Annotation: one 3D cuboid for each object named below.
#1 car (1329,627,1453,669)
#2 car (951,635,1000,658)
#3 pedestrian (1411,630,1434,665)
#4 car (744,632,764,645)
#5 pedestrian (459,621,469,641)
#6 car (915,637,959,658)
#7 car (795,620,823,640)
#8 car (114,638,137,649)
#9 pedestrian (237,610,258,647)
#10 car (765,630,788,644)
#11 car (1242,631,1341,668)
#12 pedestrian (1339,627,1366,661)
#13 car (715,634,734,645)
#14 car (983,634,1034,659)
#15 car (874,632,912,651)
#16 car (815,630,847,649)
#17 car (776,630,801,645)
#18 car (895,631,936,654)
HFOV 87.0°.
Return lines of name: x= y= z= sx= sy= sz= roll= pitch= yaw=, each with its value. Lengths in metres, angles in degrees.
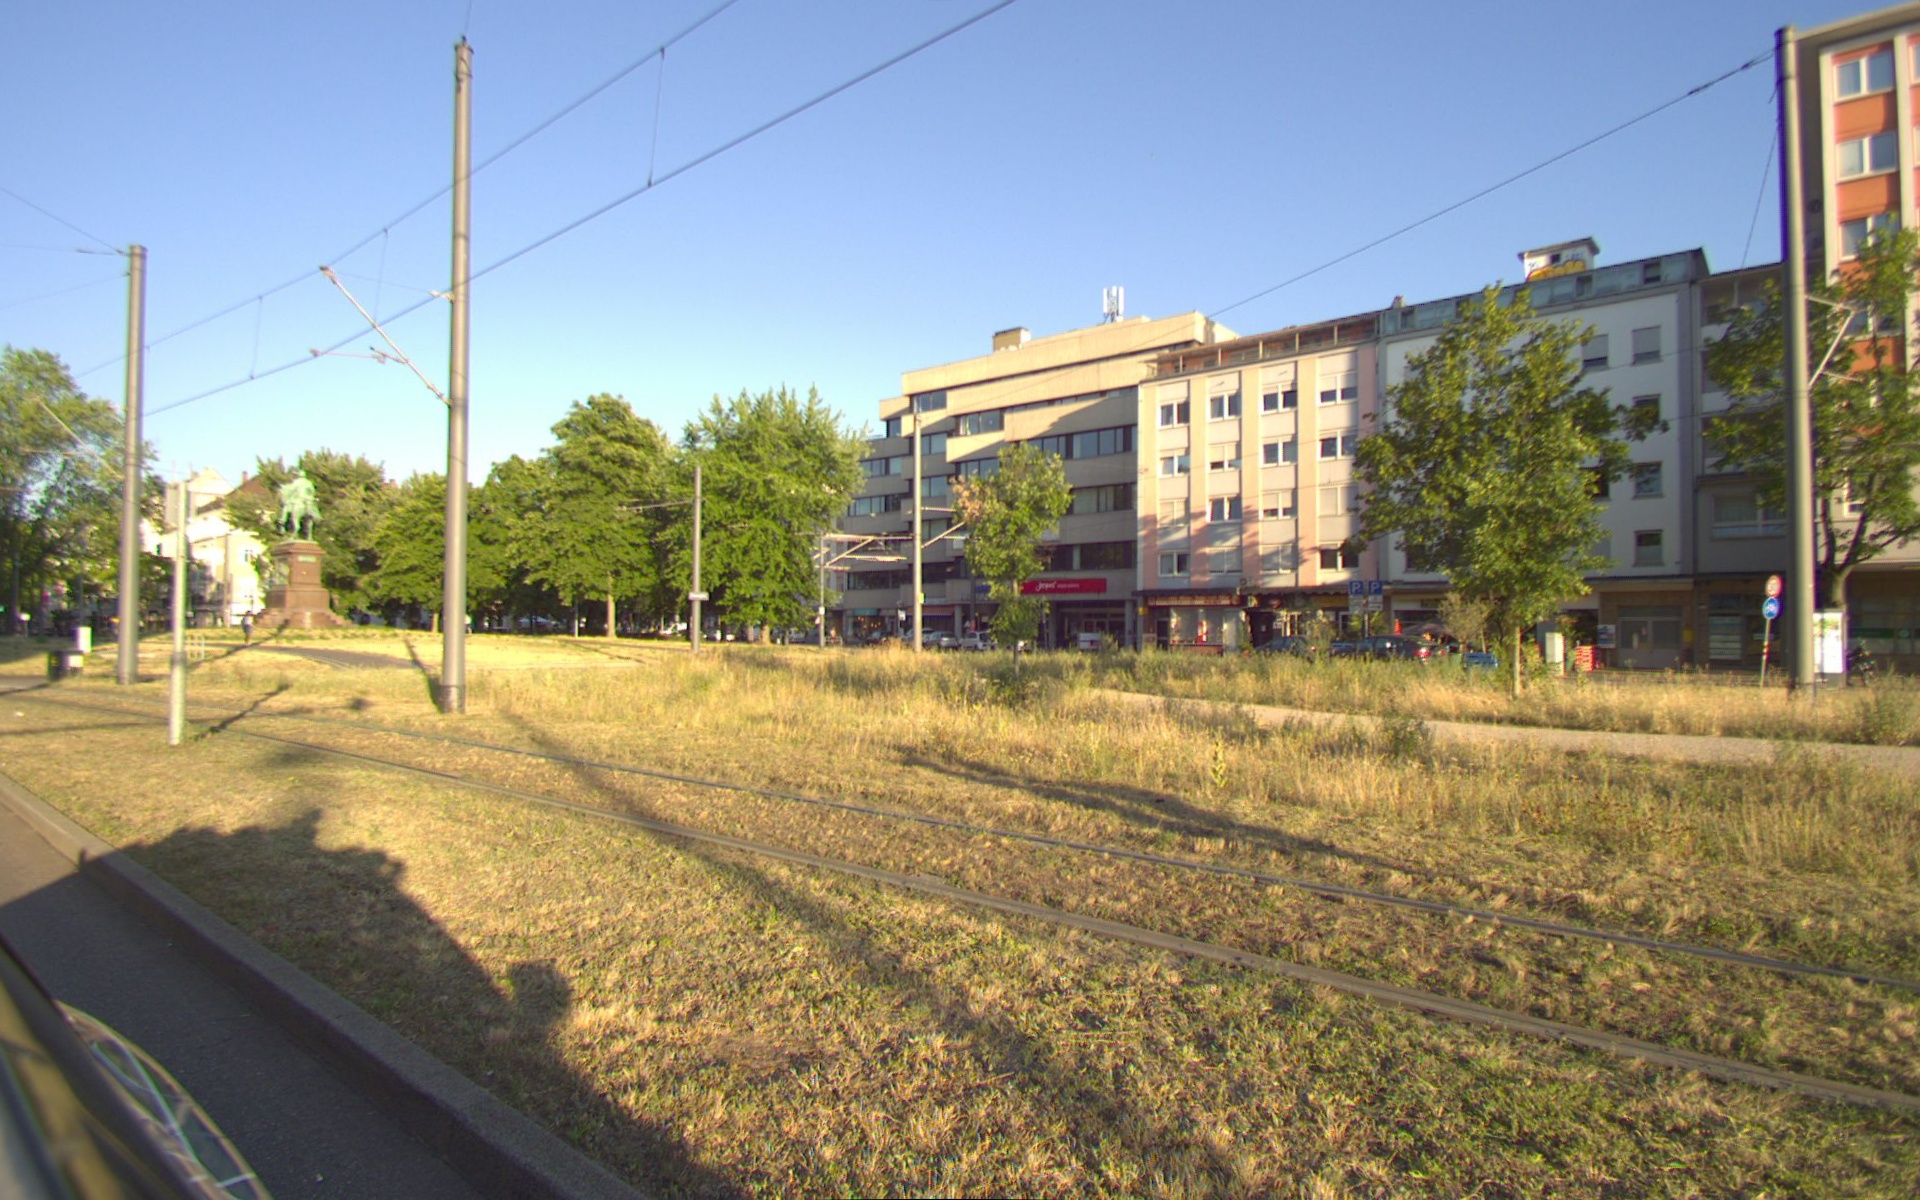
car: x=16.733 y=1.890 z=39.488 sx=1.729 sy=1.538 sz=4.305 roll=1 pitch=-3 yaw=-27
car: x=1.069 y=3.330 z=71.638 sx=1.729 sy=1.564 sz=4.012 roll=1 pitch=-3 yaw=-27
pedestrian: x=20.550 y=2.126 z=44.950 sx=0.730 sy=1.540 sz=0.685 roll=-3 pitch=-4 yaw=38
car: x=-26.787 y=5.008 z=131.416 sx=1.766 sy=1.592 sz=4.013 roll=0 pitch=-3 yaw=-23
pedestrian: x=-40.713 y=2.568 z=83.044 sx=0.553 sy=1.593 sz=0.611 roll=-3 pitch=-4 yaw=42
car: x=-1.792 y=3.631 z=76.948 sx=1.729 sy=1.564 sz=4.012 roll=1 pitch=-3 yaw=-27
car: x=-16.053 y=3.200 z=107.649 sx=1.729 sy=1.959 sz=4.222 roll=1 pitch=-3 yaw=-27
car: x=-118.309 y=6.182 z=143.468 sx=3.965 sy=1.564 sz=1.778 roll=-3 pitch=-4 yaw=41
pedestrian: x=-33.253 y=1.350 z=47.232 sx=0.831 sy=1.703 sz=0.472 roll=-1 pitch=-3 yaw=26
car: x=-21.809 y=4.357 z=120.023 sx=1.766 sy=1.592 sz=4.013 roll=0 pitch=-3 yaw=-23
car: x=14.440 y=2.157 z=44.320 sx=1.729 sy=1.538 sz=4.012 roll=1 pitch=-3 yaw=-27
pedestrian: x=18.198 y=2.023 z=46.872 sx=0.852 sy=1.540 sz=1.107 roll=-3 pitch=-4 yaw=38
car: x=-31.151 y=5.173 z=133.685 sx=1.681 sy=1.401 sz=4.013 roll=1 pitch=-3 yaw=-25
car: x=3.178 y=3.071 z=66.956 sx=1.729 sy=1.564 sz=4.013 roll=0 pitch=-3 yaw=-24
car: x=-5.810 y=3.598 z=87.954 sx=1.833 sy=1.569 sz=4.081 roll=1 pitch=-3 yaw=-27
car: x=-13.023 y=4.007 z=101.980 sx=1.906 sy=1.808 sz=4.222 roll=1 pitch=-3 yaw=-27
car: x=-19.507 y=4.267 z=115.028 sx=1.729 sy=1.676 sz=4.012 roll=1 pitch=-3 yaw=-27
car: x=-3.616 y=3.443 z=82.091 sx=1.729 sy=1.808 sz=4.222 roll=1 pitch=-3 yaw=-27
